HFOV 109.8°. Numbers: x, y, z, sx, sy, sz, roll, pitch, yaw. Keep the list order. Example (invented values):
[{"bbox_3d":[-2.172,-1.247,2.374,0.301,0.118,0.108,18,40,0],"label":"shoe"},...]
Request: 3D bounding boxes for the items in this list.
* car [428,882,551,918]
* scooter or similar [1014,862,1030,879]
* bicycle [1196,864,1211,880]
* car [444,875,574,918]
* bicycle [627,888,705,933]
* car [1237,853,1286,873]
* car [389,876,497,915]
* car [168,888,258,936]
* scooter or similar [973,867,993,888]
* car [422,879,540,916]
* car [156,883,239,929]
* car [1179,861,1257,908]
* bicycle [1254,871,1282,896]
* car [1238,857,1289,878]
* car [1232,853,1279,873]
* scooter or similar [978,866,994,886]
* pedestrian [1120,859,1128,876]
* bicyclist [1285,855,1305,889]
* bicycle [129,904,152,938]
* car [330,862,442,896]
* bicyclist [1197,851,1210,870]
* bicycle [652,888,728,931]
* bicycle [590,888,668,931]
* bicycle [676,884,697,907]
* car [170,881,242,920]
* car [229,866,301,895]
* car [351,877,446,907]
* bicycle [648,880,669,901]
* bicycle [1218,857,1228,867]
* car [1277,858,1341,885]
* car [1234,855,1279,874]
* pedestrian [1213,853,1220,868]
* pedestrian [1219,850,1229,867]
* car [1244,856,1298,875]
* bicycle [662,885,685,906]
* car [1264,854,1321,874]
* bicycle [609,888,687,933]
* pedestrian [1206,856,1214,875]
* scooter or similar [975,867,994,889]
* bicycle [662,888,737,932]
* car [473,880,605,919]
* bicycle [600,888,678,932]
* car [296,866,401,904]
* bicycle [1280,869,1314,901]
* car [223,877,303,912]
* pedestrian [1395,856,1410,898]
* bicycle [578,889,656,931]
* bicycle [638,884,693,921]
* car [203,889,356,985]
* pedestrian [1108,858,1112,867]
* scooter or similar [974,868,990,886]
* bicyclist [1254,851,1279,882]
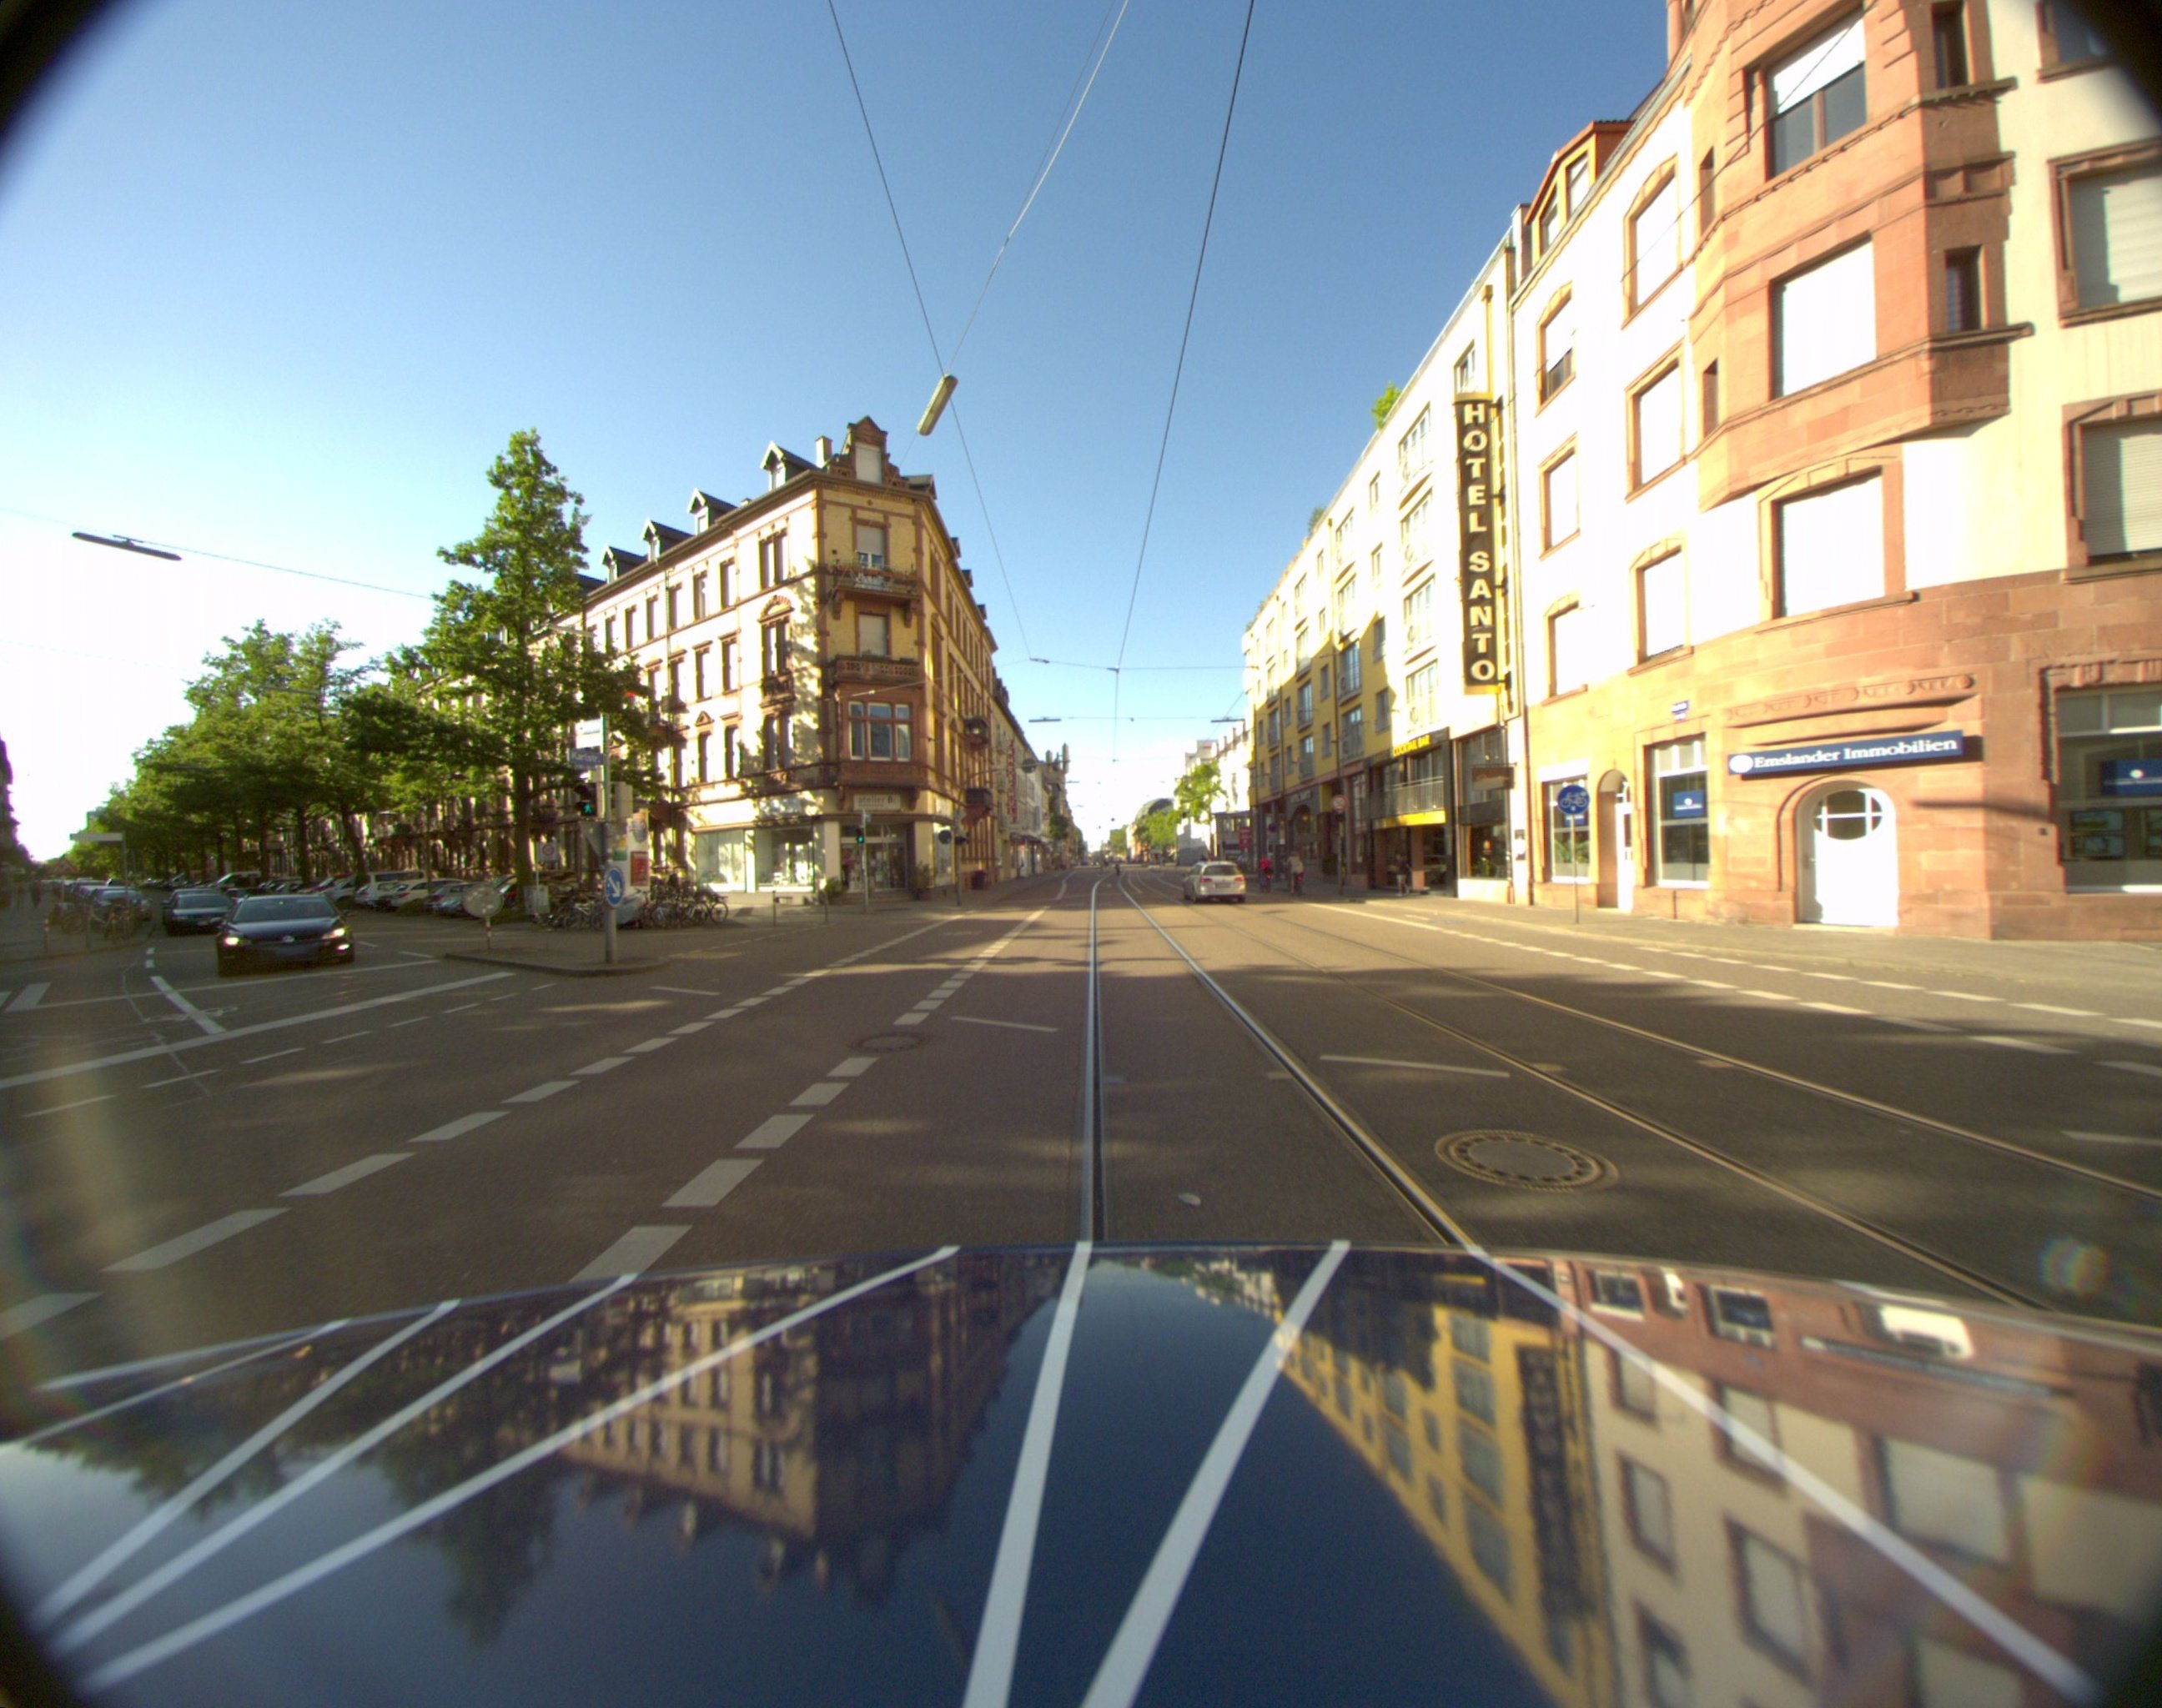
[{"bbox_3d":[-26.217,2.017,33.820,1.547,1.349,4.008,-1,0,31],"label":"car"},{"bbox_3d":[-5.059,1.410,65.332,0.410,1.273,1.287,26,-1,17],"label":"scooter or similar"},{"bbox_3d":[8.925,1.316,55.337,0.732,1.082,2.061,-1,0,0],"label":"bicycle"},{"bbox_3d":[-24.298,1.747,32.445,1.820,1.592,4.008,-1,0,31],"label":"car"},{"bbox_3d":[-12.735,1.711,23.413,0.616,1.136,2.123,-1,2,23],"label":"bicycle"},{"bbox_3d":[17.312,0.839,72.960,4.243,1.801,1.785,-1,0,2],"label":"car"},{"bbox_3d":[-32.230,2.051,38.491,1.516,1.747,3.872,-1,0,31],"label":"car"},{"bbox_3d":[-31.733,2.047,27.748,4.238,1.490,1.849,-1,1,38],"label":"car"},{"bbox_3d":[-5.436,1.292,42.202,0.935,1.142,0.650,3,0,-1],"label":"scooter or similar"},{"bbox_3d":[-27.764,1.966,35.295,1.547,1.516,4.008,-1,0,31],"label":"car"},{"bbox_3d":[-36.062,2.069,31.116,4.238,1.596,1.849,-1,1,45],"label":"car"},{"bbox_3d":[4.785,1.011,27.173,1.990,1.493,4.308,-1,0,0],"label":"car"},{"bbox_3d":[8.348,1.311,34.012,0.732,1.059,2.061,-1,0,0],"label":"bicycle"},{"bbox_3d":[16.349,1.208,68.230,4.244,1.802,1.785,-1,2,1],"label":"car"},{"bbox_3d":[17.245,0.897,75.100,4.244,1.801,1.785,-1,0,1],"label":"car"},{"bbox_3d":[-5.512,1.270,44.323,0.792,1.142,0.790,3,0,-1],"label":"scooter or similar"},{"bbox_3d":[4.195,1.316,74.400,0.780,1.551,0.650,-1,0,5],"label":"pedestrian"},{"bbox_3d":[8.656,0.729,30.720,0.591,1.368,0.679,-2,0,-1],"label":"bicyclist"},{"bbox_3d":[-31.098,2.205,25.137,1.873,1.037,0.399,-1,0,41],"label":"bicycle"},{"bbox_3d":[-41.348,1.451,45.309,1.547,1.822,4.680,-1,0,36],"label":"car"},{"bbox_3d":[8.906,0.491,55.345,0.726,1.373,1.227,-2,0,0],"label":"bicyclist"},{"bbox_3d":[-12.041,1.687,23.473,0.616,1.136,2.123,-1,1,23],"label":"bicycle"},{"bbox_3d":[-14.425,1.754,24.327,0.616,1.136,2.123,-1,2,23],"label":"bicycle"},{"bbox_3d":[-17.786,1.860,34.242,0.996,0.998,0.398,-1,0,36],"label":"bicycle"},{"bbox_3d":[-39.701,2.063,34.552,4.238,1.595,1.849,-2,0,45],"label":"car"},{"bbox_3d":[-71.543,2.299,66.688,1.547,2.308,4.008,-1,0,32],"label":"car"},{"bbox_3d":[-38.588,2.127,43.032,1.547,1.516,3.691,-1,0,32],"label":"car"},{"bbox_3d":[-20.111,1.724,36.163,1.283,0.951,0.398,-1,0,37],"label":"bicycle"},{"bbox_3d":[16.195,0.921,86.616,0.525,1.030,1.878,-1,0,-6],"label":"bicycle"},{"bbox_3d":[17.132,1.302,57.151,4.243,1.801,1.785,-2,1,2],"label":"car"},{"bbox_3d":[16.262,0.947,70.497,3.698,1.663,1.785,-1,0,1],"label":"car"},{"bbox_3d":[13.767,0.660,77.387,0.573,1.608,0.499,-1,0,1],"label":"pedestrian"},{"bbox_3d":[14.524,0.470,77.235,0.715,1.753,0.780,-1,0,-7],"label":"pedestrian"},{"bbox_3d":[16.463,0.983,65.965,4.243,1.600,1.785,-1,0,2],"label":"car"},{"bbox_3d":[-18.974,1.937,35.395,1.283,0.951,0.398,-1,0,36],"label":"bicycle"},{"bbox_3d":[17.407,0.844,62.715,4.244,1.539,1.785,-1,2,1],"label":"car"},{"bbox_3d":[-13.439,1.731,23.672,0.616,1.136,2.123,-1,2,23],"label":"bicycle"},{"bbox_3d":[13.165,1.151,77.716,0.639,1.935,0.709,-1,0,0],"label":"pedestrian"},{"bbox_3d":[-5.226,1.287,41.094,0.899,1.142,0.547,3,0,-1],"label":"scooter or similar"},{"bbox_3d":[-11.631,1.673,23.249,0.616,1.136,2.123,-1,2,23],"label":"bicycle"},{"bbox_3d":[-22.240,1.833,31.328,1.820,1.363,4.008,-1,0,31],"label":"car"},{"bbox_3d":[-13.904,1.741,23.967,0.616,1.136,2.123,-1,2,23],"label":"bicycle"},{"bbox_3d":[-46.694,1.958,48.557,1.842,2.189,4.482,-1,0,32],"label":"car"},{"bbox_3d":[8.678,1.224,30.662,0.732,1.176,2.061,-2,1,0],"label":"bicycle"},{"bbox_3d":[-41.705,2.035,38.703,4.239,1.596,1.848,-2,1,30],"label":"car"},{"bbox_3d":[11.007,0.776,26.040,0.404,1.402,0.517,-1,0,17],"label":"pedestrian"},{"bbox_3d":[-14.967,1.778,24.577,0.616,1.136,2.123,-1,2,23],"label":"bicycle"},{"bbox_3d":[-14.477,1.674,26.516,0.543,1.136,1.619,-1,2,23],"label":"bicycle"},{"bbox_3d":[-15.996,1.545,15.373,1.849,1.490,4.238,-3,1,-43],"label":"car"},{"bbox_3d":[5.288,1.581,136.944,0.716,1.635,0.400,-1,1,4],"label":"pedestrian"},{"bbox_3d":[-5.621,1.303,43.016,0.792,0.952,0.680,3,0,-1],"label":"scooter or similar"},{"bbox_3d":[8.327,0.549,34.142,0.737,1.373,1.468,-2,0,0],"label":"bicyclist"}]
